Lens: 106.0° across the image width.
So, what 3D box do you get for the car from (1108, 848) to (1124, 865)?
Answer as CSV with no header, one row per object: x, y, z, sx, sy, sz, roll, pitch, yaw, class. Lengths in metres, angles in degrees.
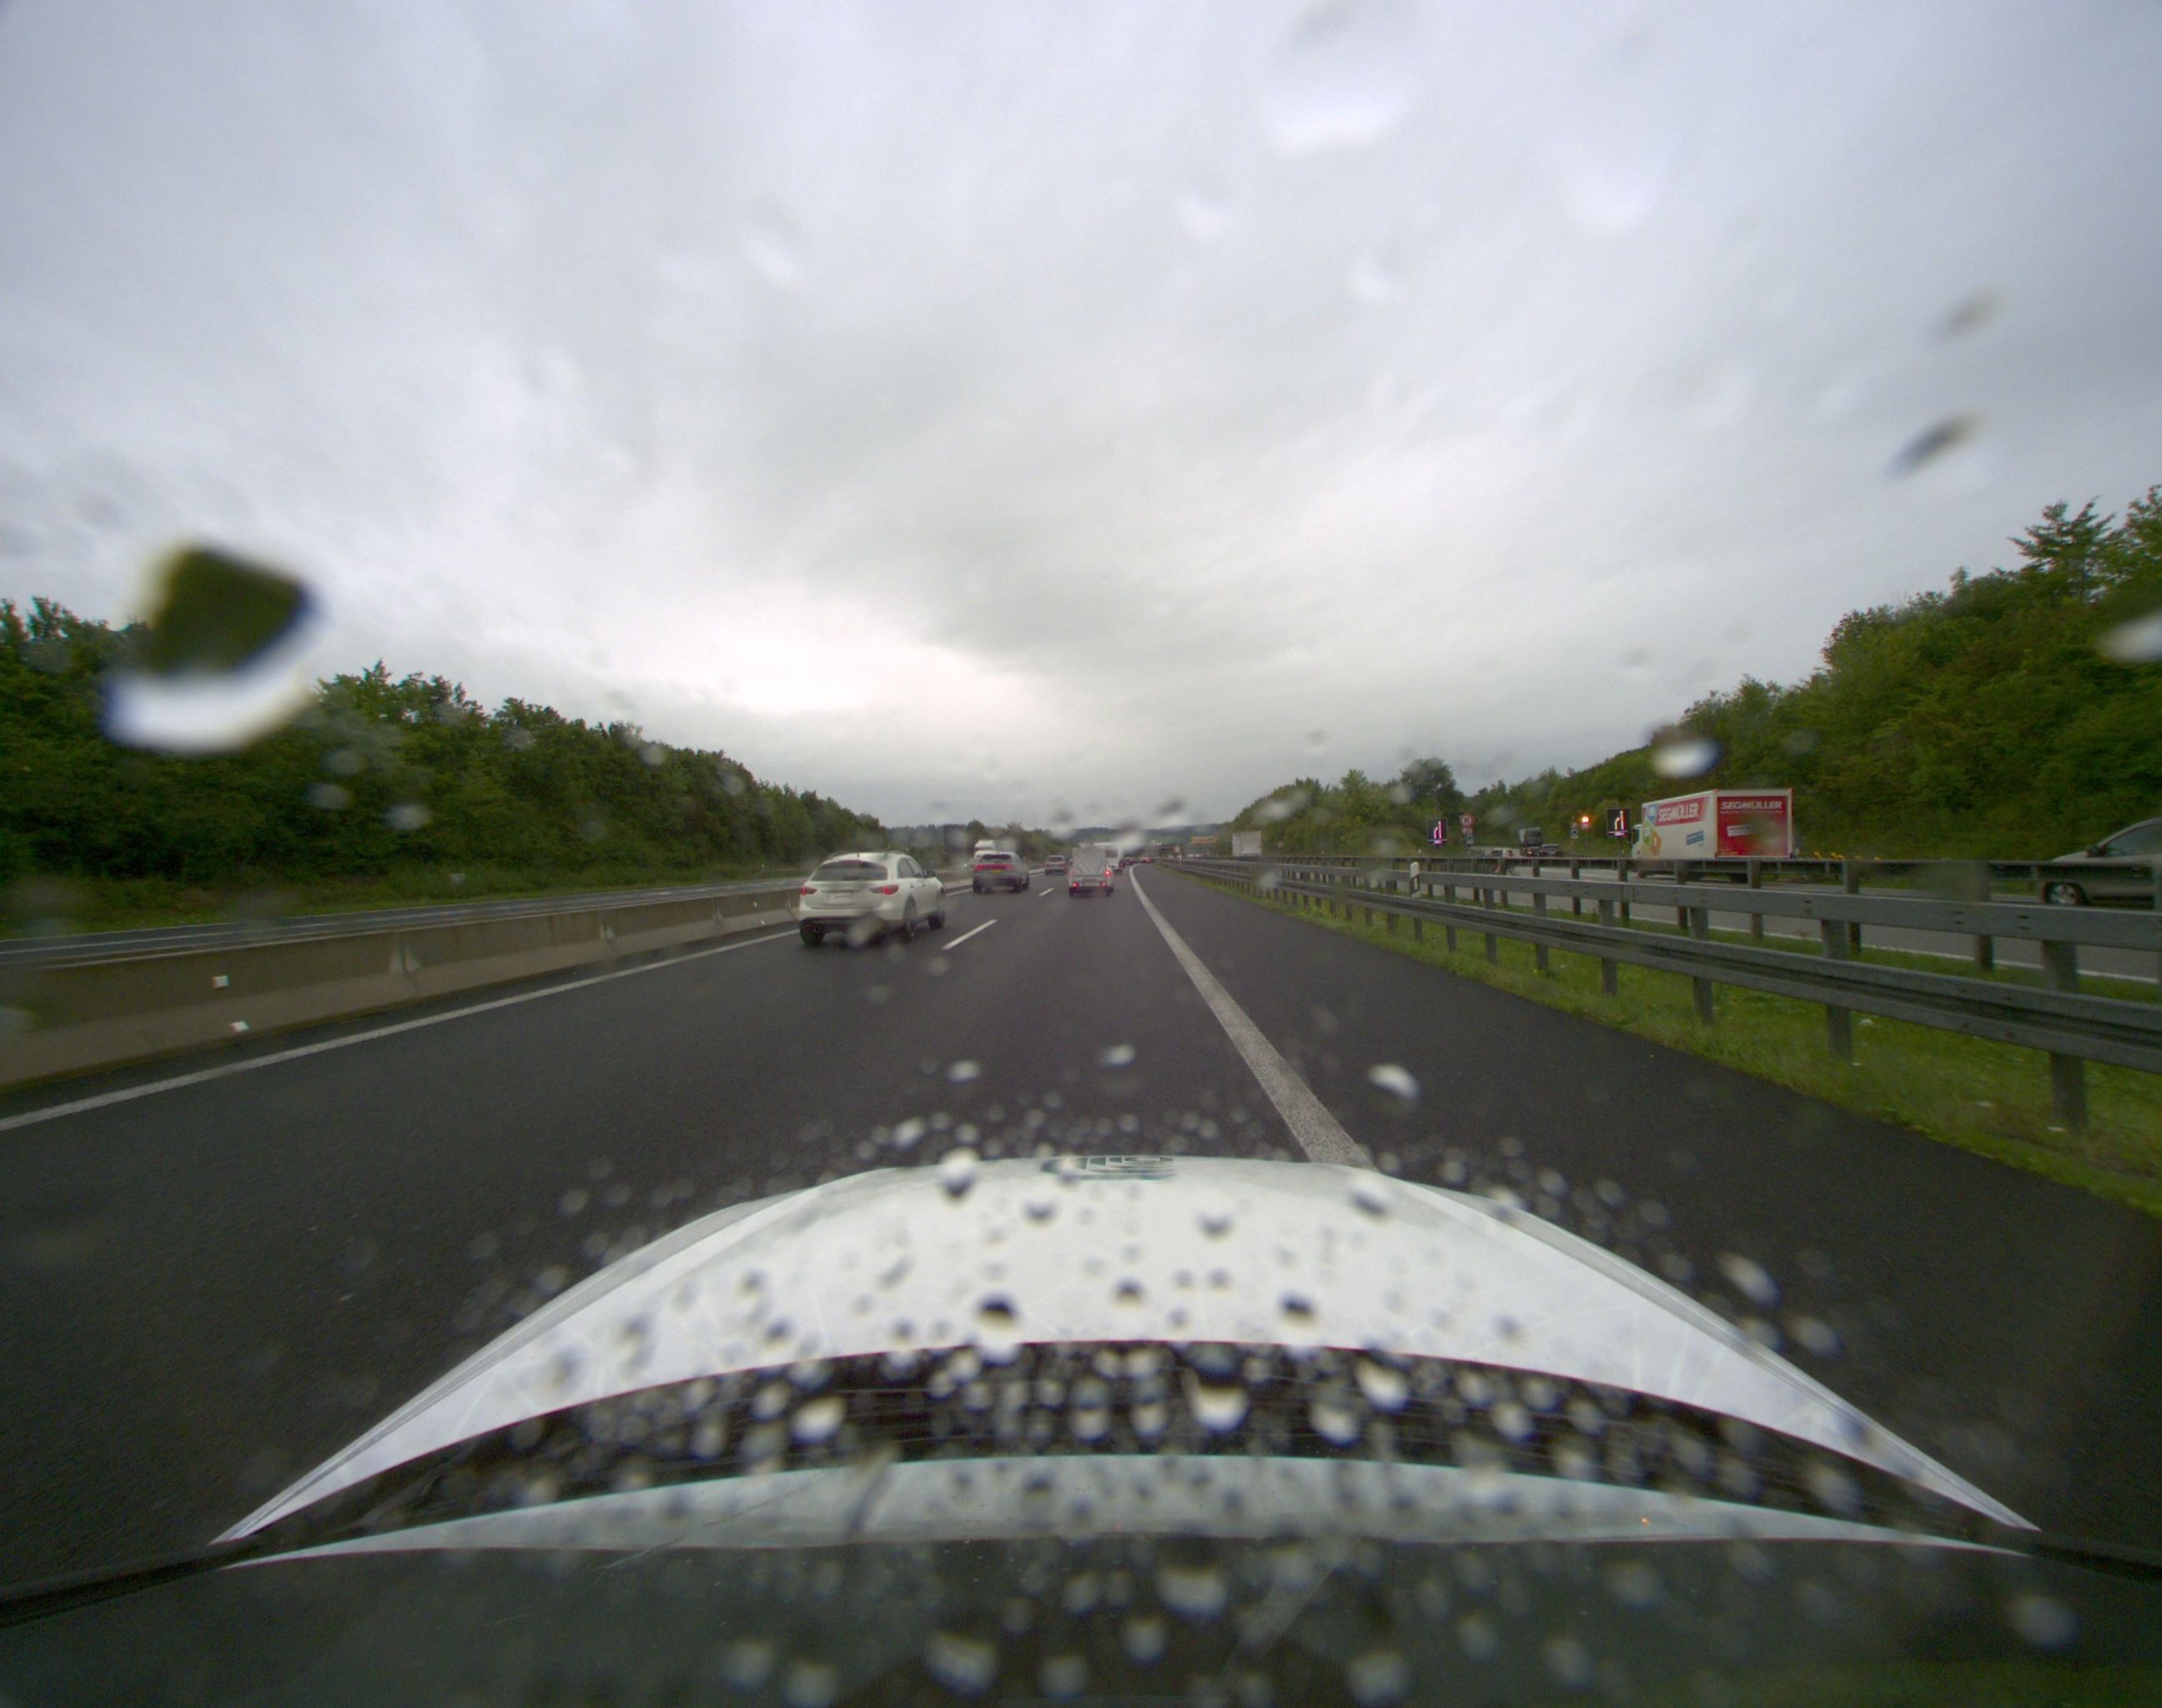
4.518,0.329,104.530,1.986,2.036,4.153,0,-1,2,car

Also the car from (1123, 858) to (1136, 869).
7.803,1.528,131.515,1.984,1.750,4.006,0,-1,5,car

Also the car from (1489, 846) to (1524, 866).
33.008,0.173,63.254,1.844,1.447,4.179,-2,0,21,car

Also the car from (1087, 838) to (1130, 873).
2.328,0.095,66.468,3.001,2.616,6.085,-1,0,6,car

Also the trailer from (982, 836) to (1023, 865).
-11.780,-0.554,124.302,3.242,4.083,13.872,-1,0,7,trailer

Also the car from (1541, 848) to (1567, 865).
41.841,0.182,72.082,1.842,1.447,4.183,-2,0,29,car

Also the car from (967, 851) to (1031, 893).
-3.488,0.748,35.461,2.166,1.631,4.502,-1,0,2,car

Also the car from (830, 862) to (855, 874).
-27.890,1.631,95.372,1.682,1.294,3.925,-1,0,2,car

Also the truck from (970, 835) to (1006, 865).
-12.996,-0.531,114.436,3.242,4.083,7.455,-1,0,7,truck

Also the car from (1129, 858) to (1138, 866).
12.167,1.765,188.091,1.984,1.750,4.006,0,-1,6,car

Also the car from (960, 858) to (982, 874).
-11.954,1.294,88.780,1.521,1.620,4.392,-1,0,4,car

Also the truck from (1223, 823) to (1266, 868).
19.806,-1.027,99.484,4.074,5.103,10.480,-1,0,6,truck

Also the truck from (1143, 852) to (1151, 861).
20.966,0.810,258.314,2.266,3.082,7.259,0,-1,7,truck

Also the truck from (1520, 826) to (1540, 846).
65.601,-2.603,118.910,2.223,2.878,8.225,-1,0,31,truck

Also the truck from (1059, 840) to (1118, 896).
0.423,0.516,33.017,2.010,1.985,7.219,-1,0,3,truck

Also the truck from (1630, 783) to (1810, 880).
25.910,-0.800,33.690,2.875,3.395,9.016,-1,0,18,truck

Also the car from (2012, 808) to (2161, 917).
17.415,0.110,12.343,1.849,1.659,4.482,-1,0,8,car

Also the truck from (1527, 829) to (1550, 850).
61.752,-2.000,109.843,2.416,2.704,5.604,-2,0,32,truck

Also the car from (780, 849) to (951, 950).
-3.952,0.774,15.817,1.969,1.639,4.502,-1,0,2,car

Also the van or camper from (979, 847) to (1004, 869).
-10.479,0.427,95.768,1.786,2.470,5.555,-1,0,5,van or camper

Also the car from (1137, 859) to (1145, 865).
17.007,2.348,231.047,1.983,1.750,4.007,0,-1,7,car

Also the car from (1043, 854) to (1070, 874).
-2.036,0.803,68.899,1.892,1.613,4.020,-1,0,3,car
